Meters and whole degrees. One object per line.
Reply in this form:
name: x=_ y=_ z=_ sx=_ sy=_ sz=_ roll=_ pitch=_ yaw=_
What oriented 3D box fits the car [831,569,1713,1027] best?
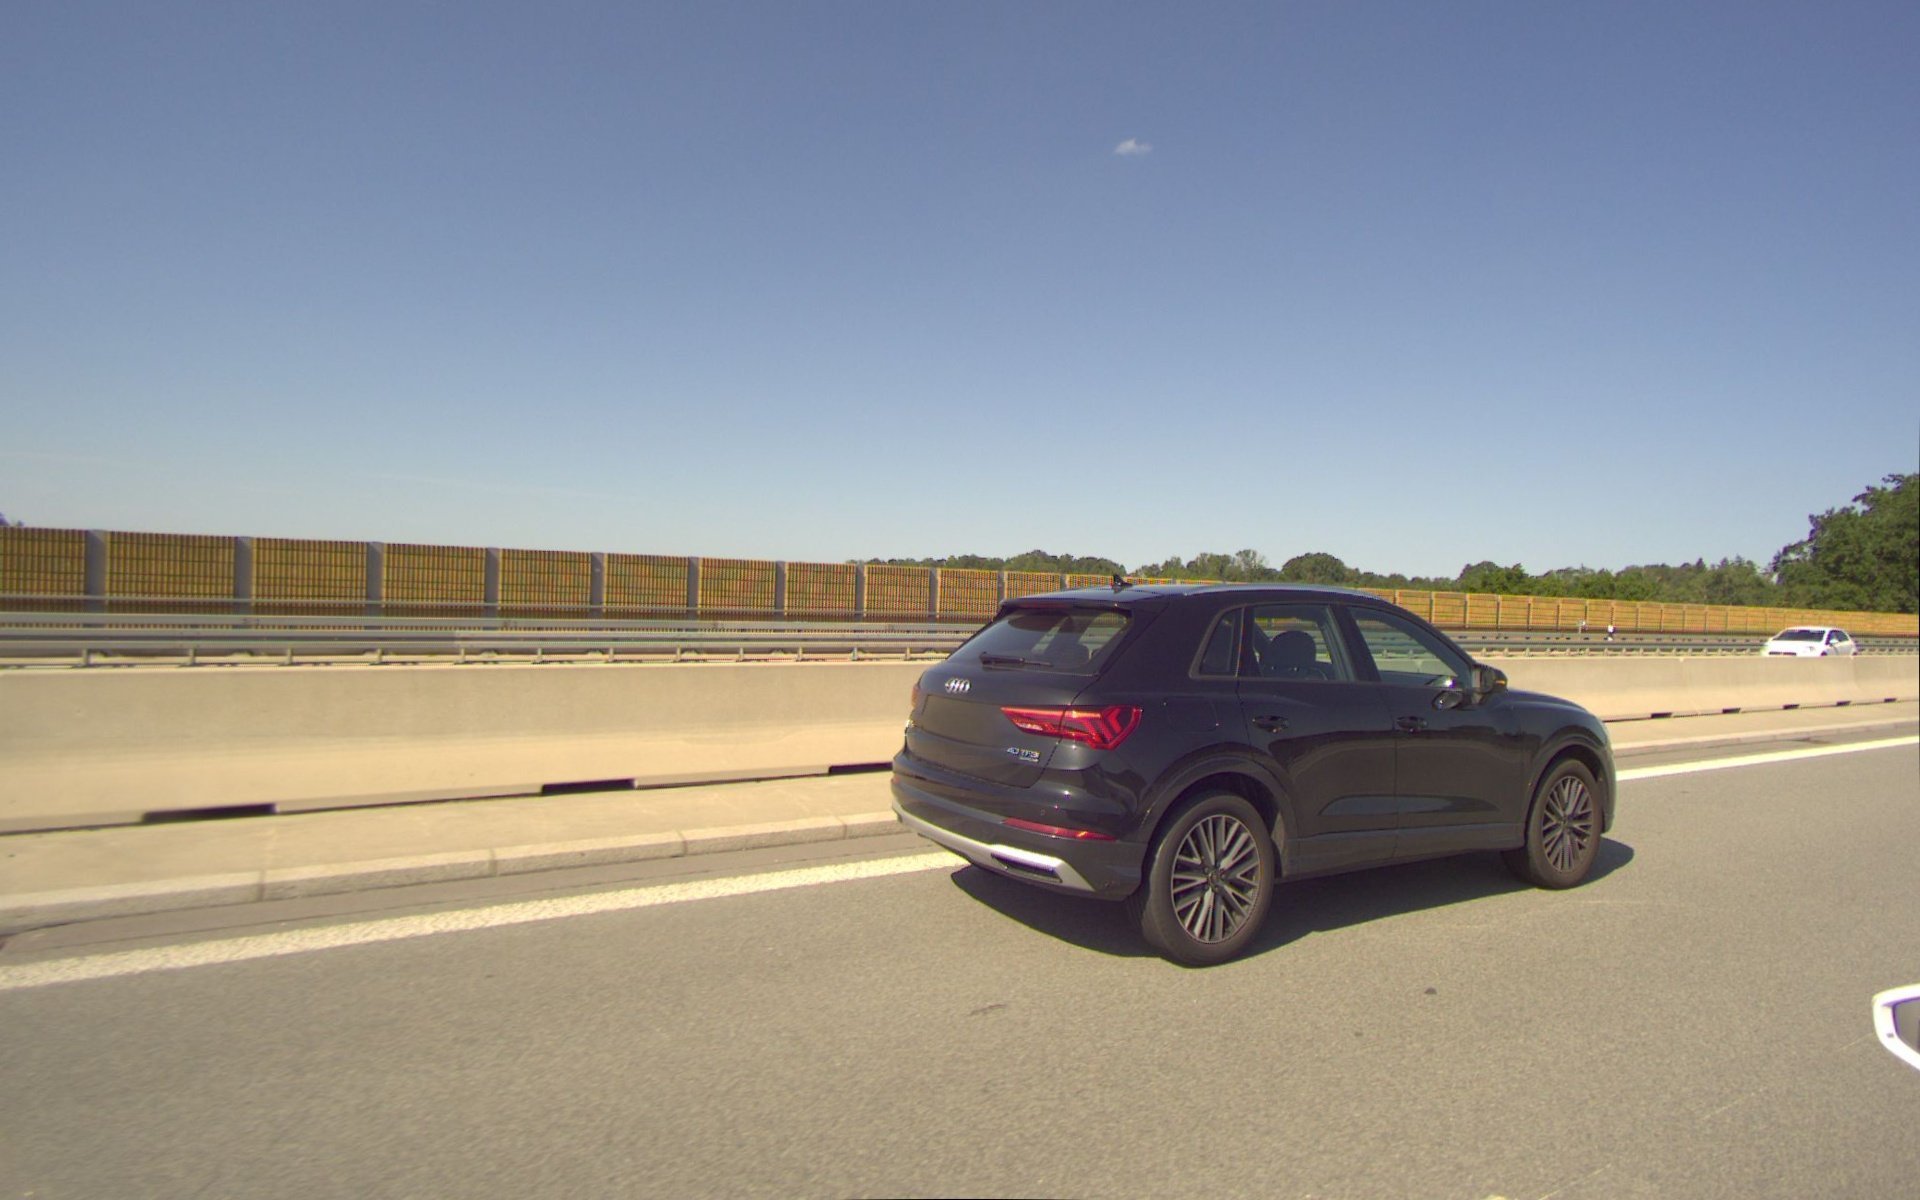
car: x=2.009 y=0.756 z=5.612 sx=5.163 sy=1.609 sz=1.713 roll=2 pitch=0 yaw=-31

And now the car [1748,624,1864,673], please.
car: x=28.638 y=1.637 z=33.988 sx=4.281 sy=1.529 sz=1.639 roll=2 pitch=0 yaw=-30
